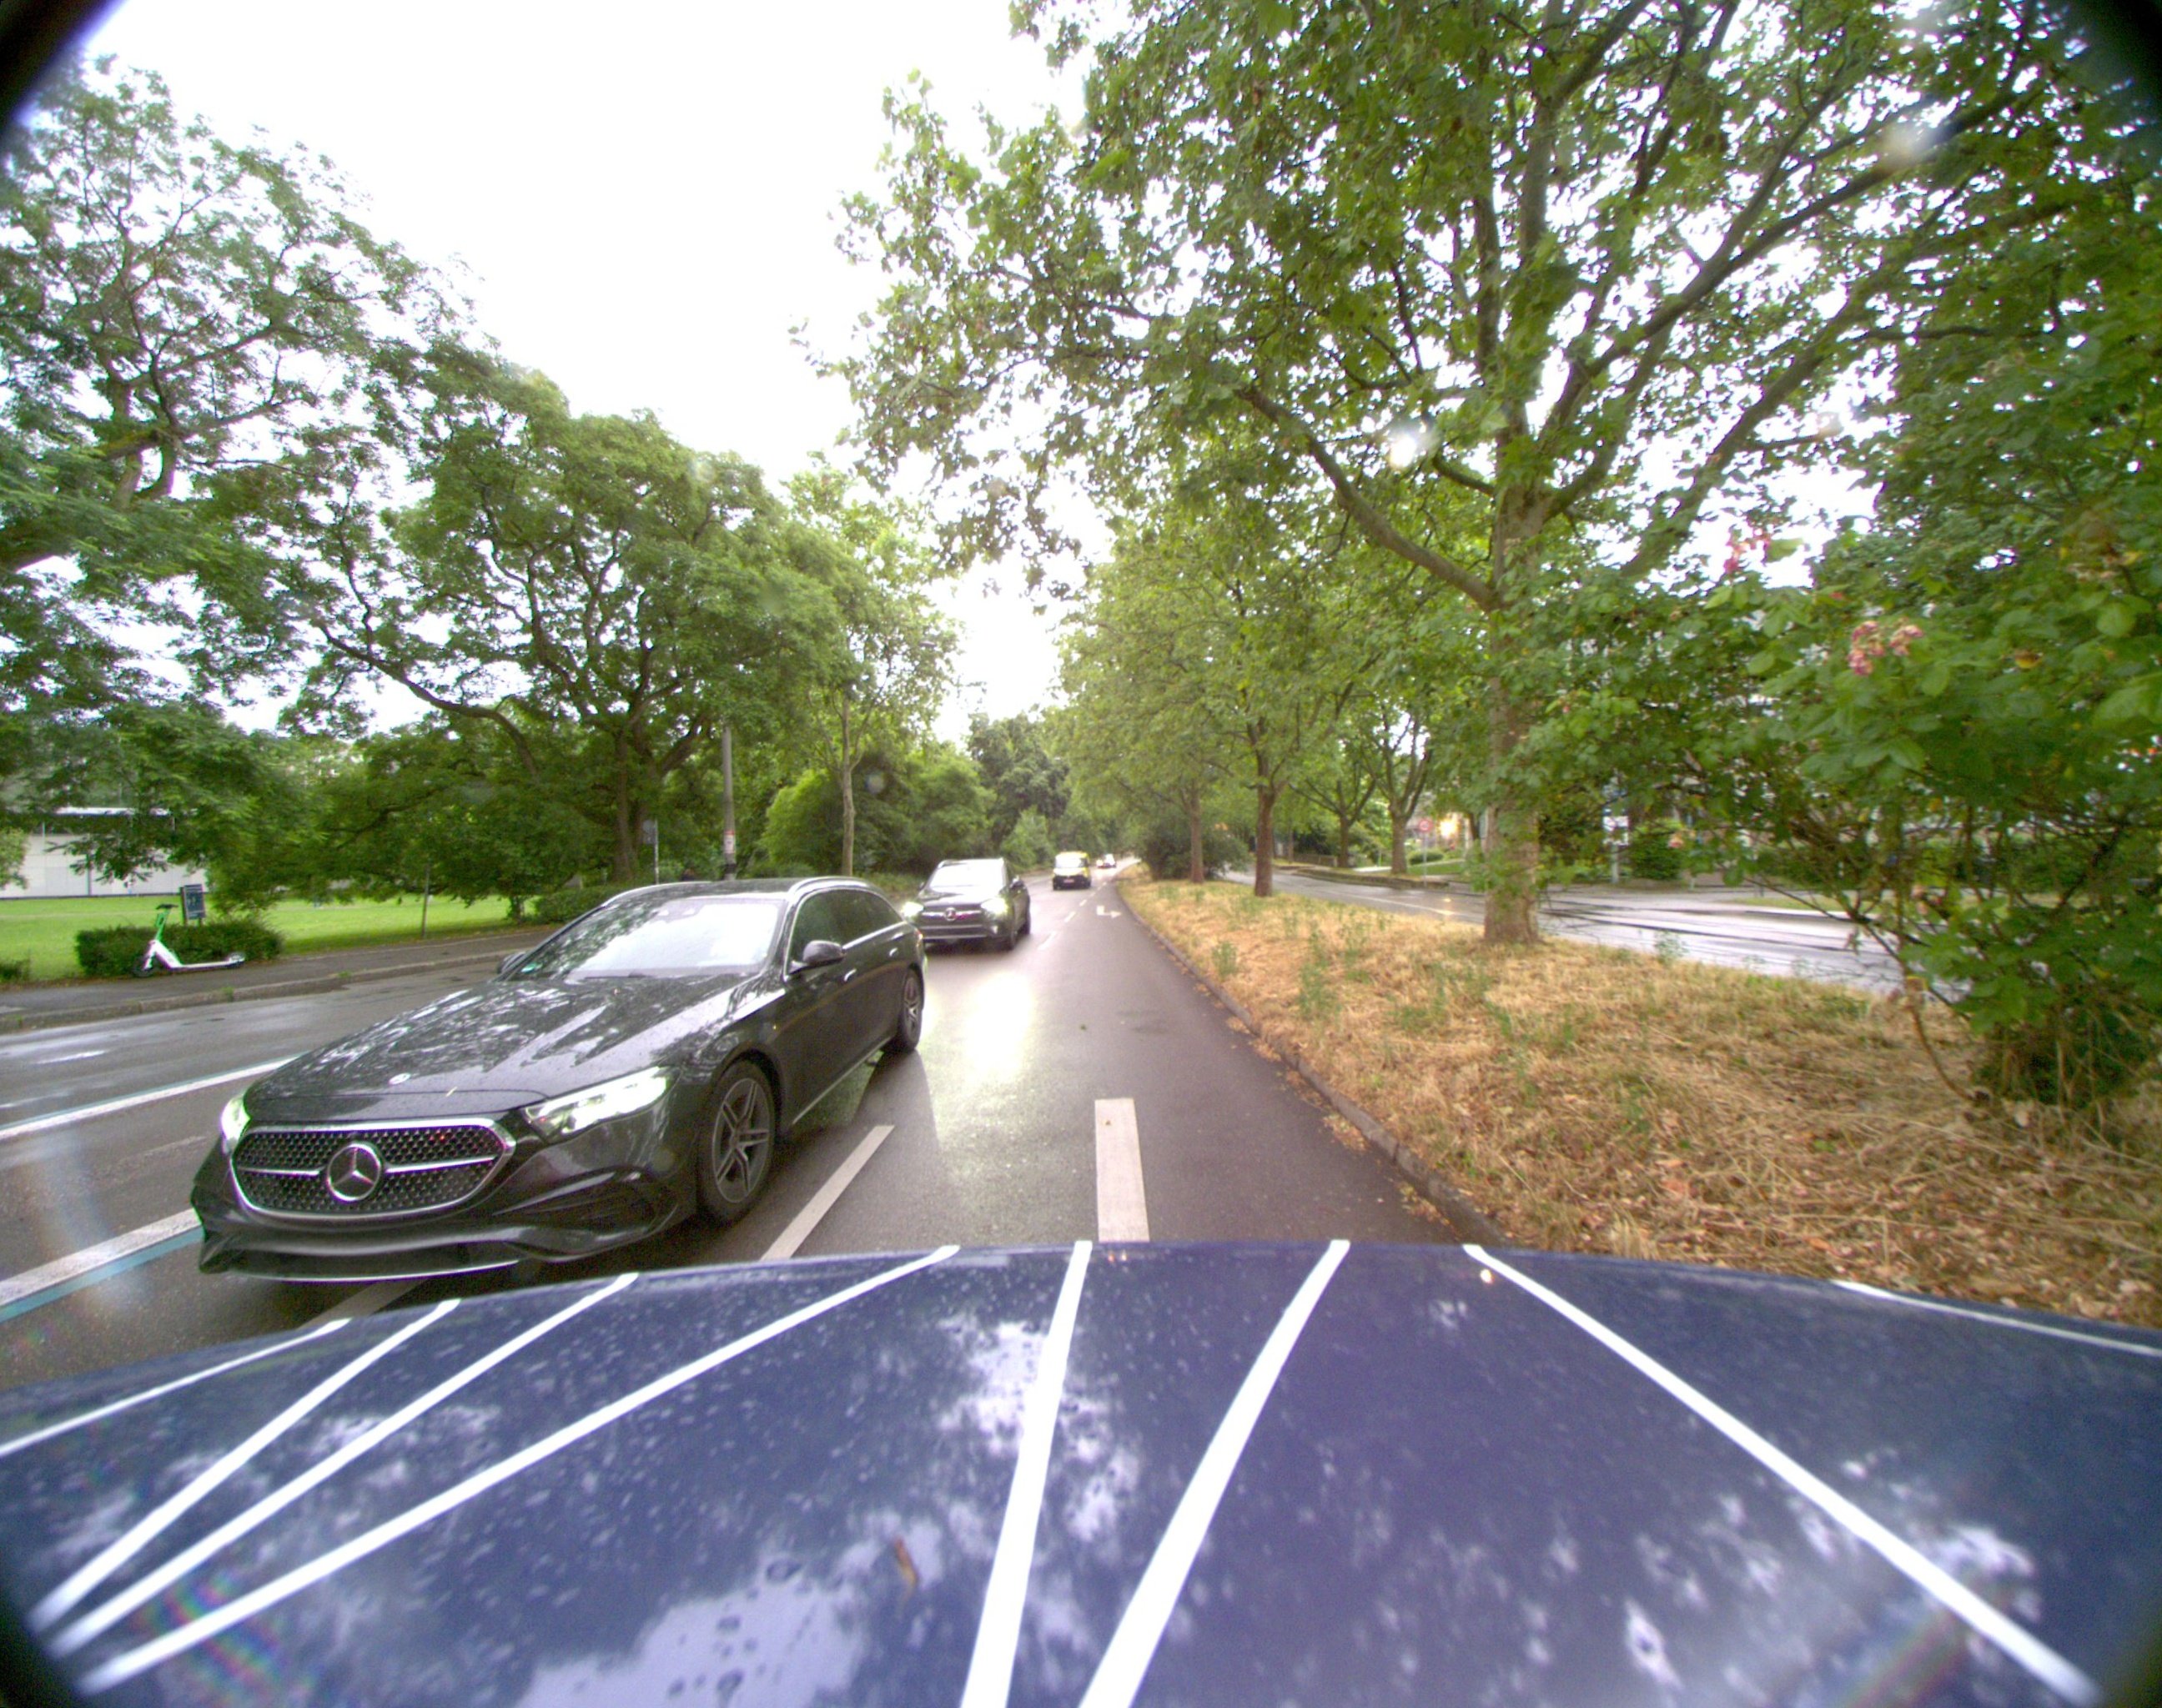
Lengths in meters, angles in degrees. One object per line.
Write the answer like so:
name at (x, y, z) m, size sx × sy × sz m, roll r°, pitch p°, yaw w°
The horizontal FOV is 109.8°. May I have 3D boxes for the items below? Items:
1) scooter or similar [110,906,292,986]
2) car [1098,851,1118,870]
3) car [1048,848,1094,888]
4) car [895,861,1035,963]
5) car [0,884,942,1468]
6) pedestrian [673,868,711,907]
scooter or similar at (-14.547, 1.485, 12.636) m, size 0.557 × 1.095 × 1.894 m, roll 2°, pitch 0°, yaw 22°
car at (2.819, 0.650, 78.525) m, size 1.906 × 1.766 × 4.001 m, roll -2°, pitch 0°, yaw 4°
car at (-0.457, 0.702, 39.764) m, size 1.883 × 1.865 × 4.743 m, roll -3°, pitch 0°, yaw 4°
car at (-2.059, 0.987, 14.858) m, size 1.833 × 1.598 × 4.578 m, roll -3°, pitch -1°, yaw 2°
car at (-2.371, 1.047, 4.659) m, size 1.884 × 1.437 × 4.931 m, roll -3°, pitch 0°, yaw 2°
pedestrian at (-16.781, 1.428, 32.775) m, size 1.068 × 1.597 × 1.060 m, roll -1°, pitch 2°, yaw 42°
